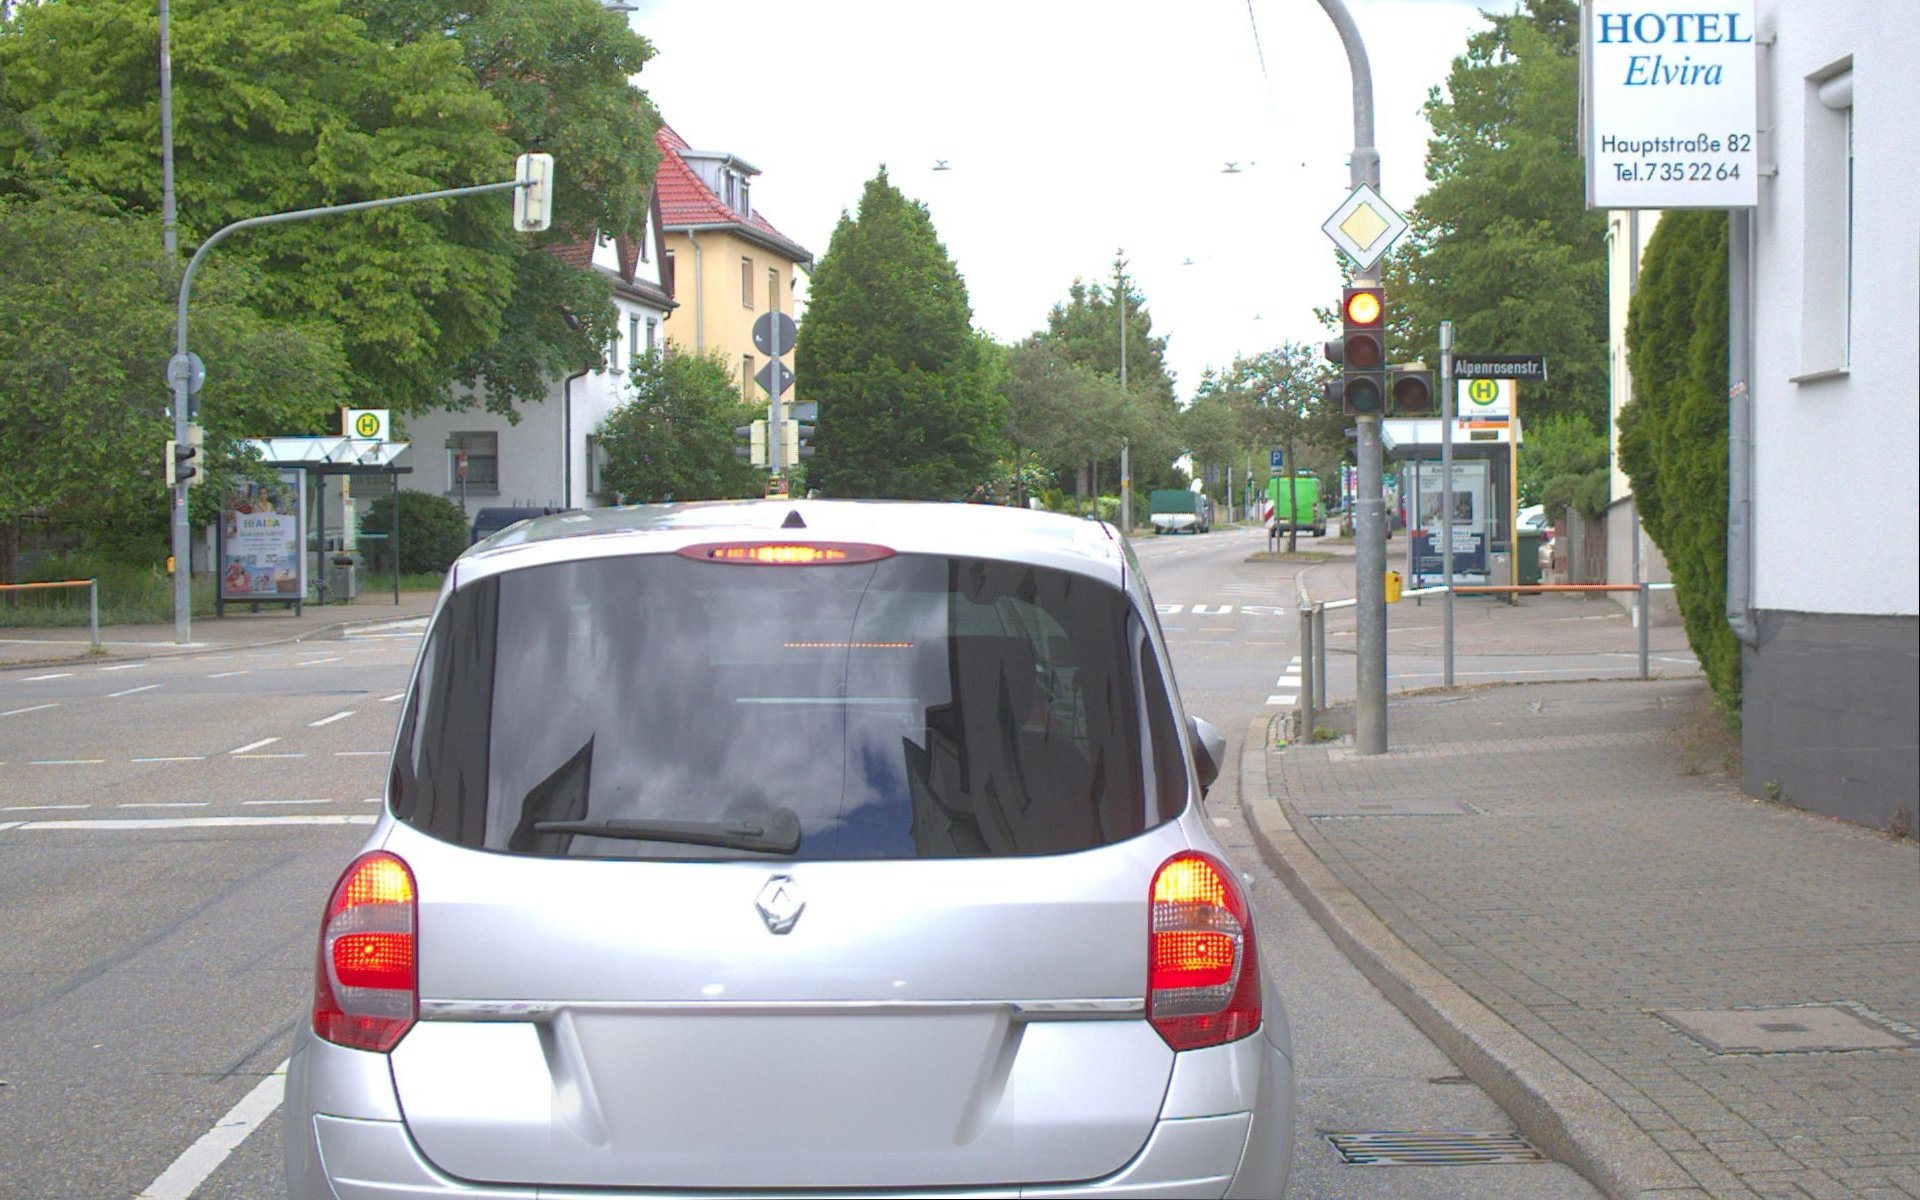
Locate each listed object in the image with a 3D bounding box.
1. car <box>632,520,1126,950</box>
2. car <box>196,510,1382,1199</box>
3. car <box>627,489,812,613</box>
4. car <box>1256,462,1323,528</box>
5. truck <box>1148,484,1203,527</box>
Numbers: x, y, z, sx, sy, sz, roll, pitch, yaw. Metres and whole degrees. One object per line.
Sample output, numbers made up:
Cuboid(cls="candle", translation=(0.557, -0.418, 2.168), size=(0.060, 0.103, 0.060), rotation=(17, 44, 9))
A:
Cuboid(cls="car", translation=(-0.323, 0.453, 14.176), size=(1.755, 1.525, 3.797), rotation=(0, 1, -1))
Cuboid(cls="car", translation=(-0.290, 0.604, 7.112), size=(1.755, 1.525, 4.000), rotation=(0, 1, -1))
Cuboid(cls="car", translation=(-3.787, -0.806, 54.732), size=(1.927, 1.767, 3.999), rotation=(-4, 1, 10))
Cuboid(cls="car", translation=(13.023, -4.099, 135.457), size=(2.060, 2.503, 5.593), rotation=(1, 1, 11))
Cuboid(cls="truck", translation=(10.496, -4.566, 167.044), size=(2.102, 2.007, 5.745), rotation=(1, 1, 9))
